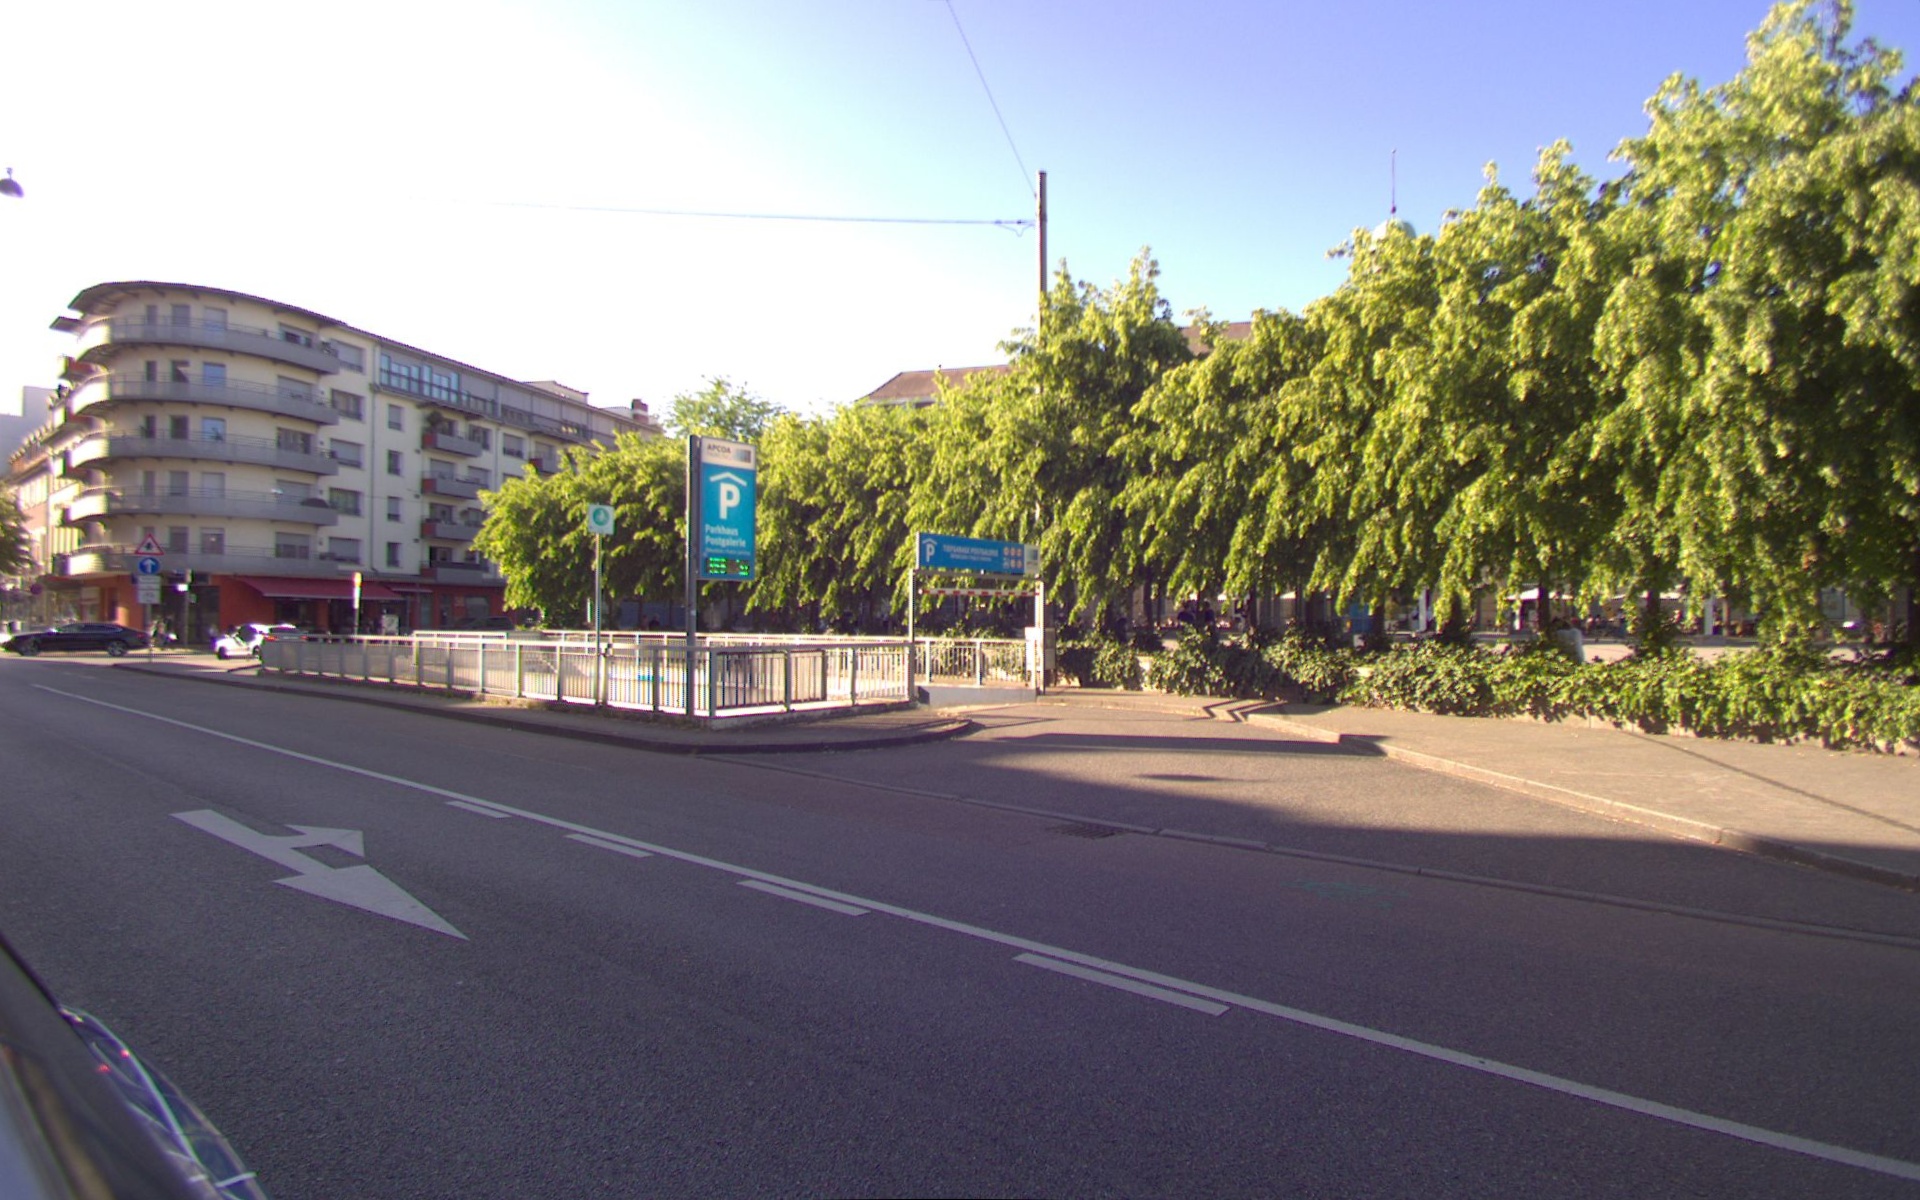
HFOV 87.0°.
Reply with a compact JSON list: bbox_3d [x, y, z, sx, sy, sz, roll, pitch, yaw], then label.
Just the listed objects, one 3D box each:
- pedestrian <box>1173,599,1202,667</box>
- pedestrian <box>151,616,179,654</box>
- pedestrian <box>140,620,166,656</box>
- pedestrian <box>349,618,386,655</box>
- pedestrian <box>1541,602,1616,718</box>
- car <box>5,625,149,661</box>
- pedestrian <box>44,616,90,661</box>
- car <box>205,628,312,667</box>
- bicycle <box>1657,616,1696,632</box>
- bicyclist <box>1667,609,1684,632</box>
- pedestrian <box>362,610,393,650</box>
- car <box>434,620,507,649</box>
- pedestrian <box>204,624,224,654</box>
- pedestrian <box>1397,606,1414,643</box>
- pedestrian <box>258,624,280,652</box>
[{"bbox_3d":[5.773,0.831,25.697,0.672,1.683,0.843,-1,-1,13],"label":"pedestrian"},{"bbox_3d":[-38.512,1.676,49.038,0.746,1.819,0.755,-1,-1,-1],"label":"pedestrian"},{"bbox_3d":[-38.702,1.812,48.555,0.691,1.719,0.673,-1,-1,6],"label":"pedestrian"},{"bbox_3d":[-32.572,1.988,55.658,1.251,2.029,1.226,-1,-1,19],"label":"pedestrian"},{"bbox_3d":[9.770,0.919,15.986,0.885,1.771,0.738,0,-1,-39],"label":"pedestrian"},{"bbox_3d":[-35.984,1.730,41.401,4.219,1.394,2.005,2,-2,-36],"label":"car"},{"bbox_3d":[-40.753,1.748,46.205,1.008,2.029,1.198,-1,0,4],"label":"pedestrian"},{"bbox_3d":[-27.804,1.862,40.078,4.231,1.445,1.786,-1,-1,28],"label":"car"},{"bbox_3d":[45.237,1.531,63.877,1.892,0.961,0.585,-1,-1,20],"label":"bicycle"},{"bbox_3d":[45.164,1.289,63.894,0.693,1.439,0.669,-1,-1,20],"label":"bicyclist"},{"bbox_3d":[-30.314,1.553,52.710,1.296,2.029,1.300,0,-1,-24],"label":"pedestrian"},{"bbox_3d":[-30.523,2.120,63.214,1.983,1.763,3.977,-1,-1,17],"label":"car"},{"bbox_3d":[-37.735,1.978,51.212,0.780,1.472,0.583,0,-1,-40],"label":"pedestrian"},{"bbox_3d":[23.870,1.318,54.247,0.751,1.948,0.938,-1,-1,20],"label":"pedestrian"},{"bbox_3d":[-36.732,2.016,53.782,0.782,1.473,0.582,0,-1,3],"label":"pedestrian"}]
